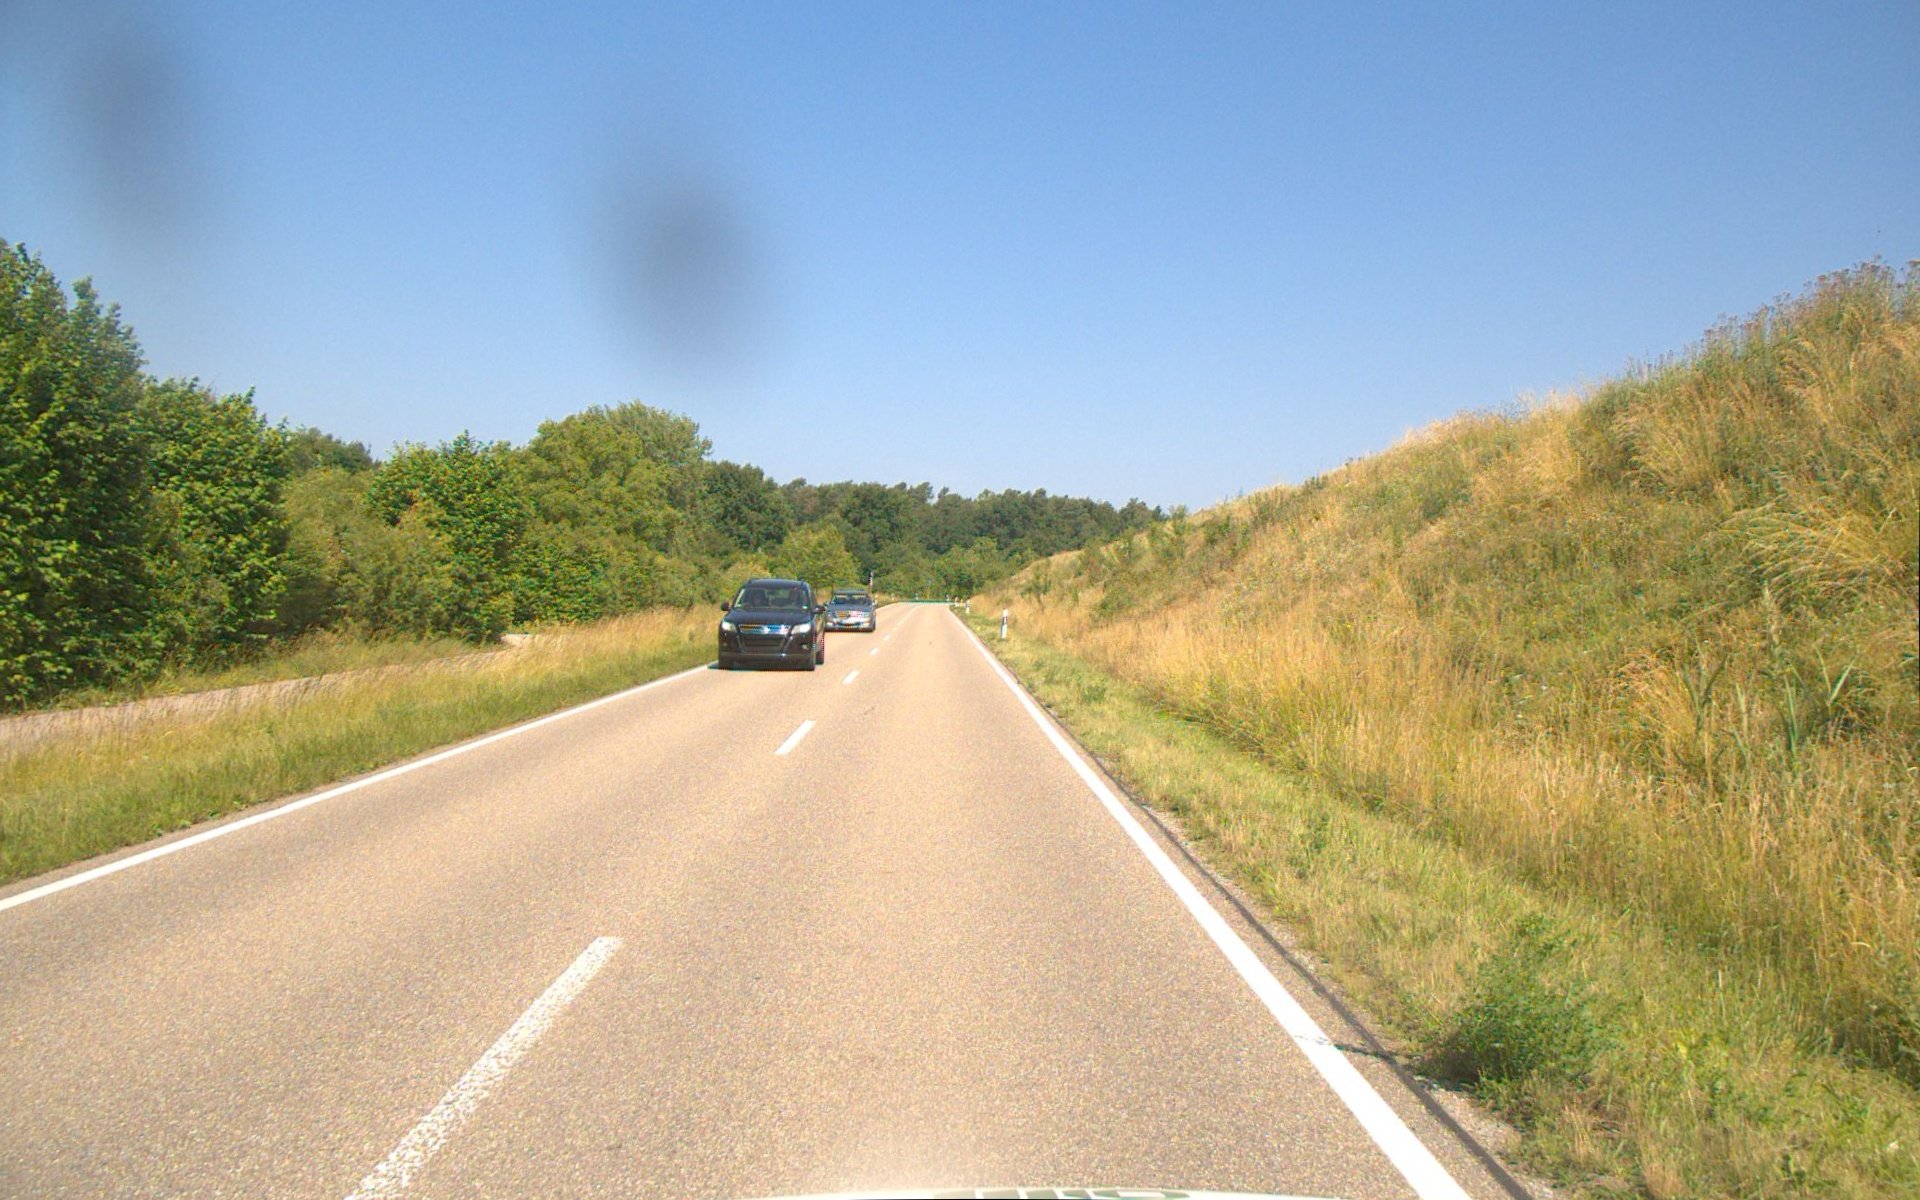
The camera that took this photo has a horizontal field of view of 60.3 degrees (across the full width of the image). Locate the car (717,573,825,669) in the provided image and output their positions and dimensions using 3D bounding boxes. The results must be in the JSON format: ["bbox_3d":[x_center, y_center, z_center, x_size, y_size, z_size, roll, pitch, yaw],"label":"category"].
[{"bbox_3d":[-3.556,0.368,31.637,1.681,1.675,3.913,1,0,-2],"label":"car"}]

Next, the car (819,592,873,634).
[{"bbox_3d":[-4.085,0.461,59.672,1.688,1.377,3.999,2,0,-1],"label":"car"}]
